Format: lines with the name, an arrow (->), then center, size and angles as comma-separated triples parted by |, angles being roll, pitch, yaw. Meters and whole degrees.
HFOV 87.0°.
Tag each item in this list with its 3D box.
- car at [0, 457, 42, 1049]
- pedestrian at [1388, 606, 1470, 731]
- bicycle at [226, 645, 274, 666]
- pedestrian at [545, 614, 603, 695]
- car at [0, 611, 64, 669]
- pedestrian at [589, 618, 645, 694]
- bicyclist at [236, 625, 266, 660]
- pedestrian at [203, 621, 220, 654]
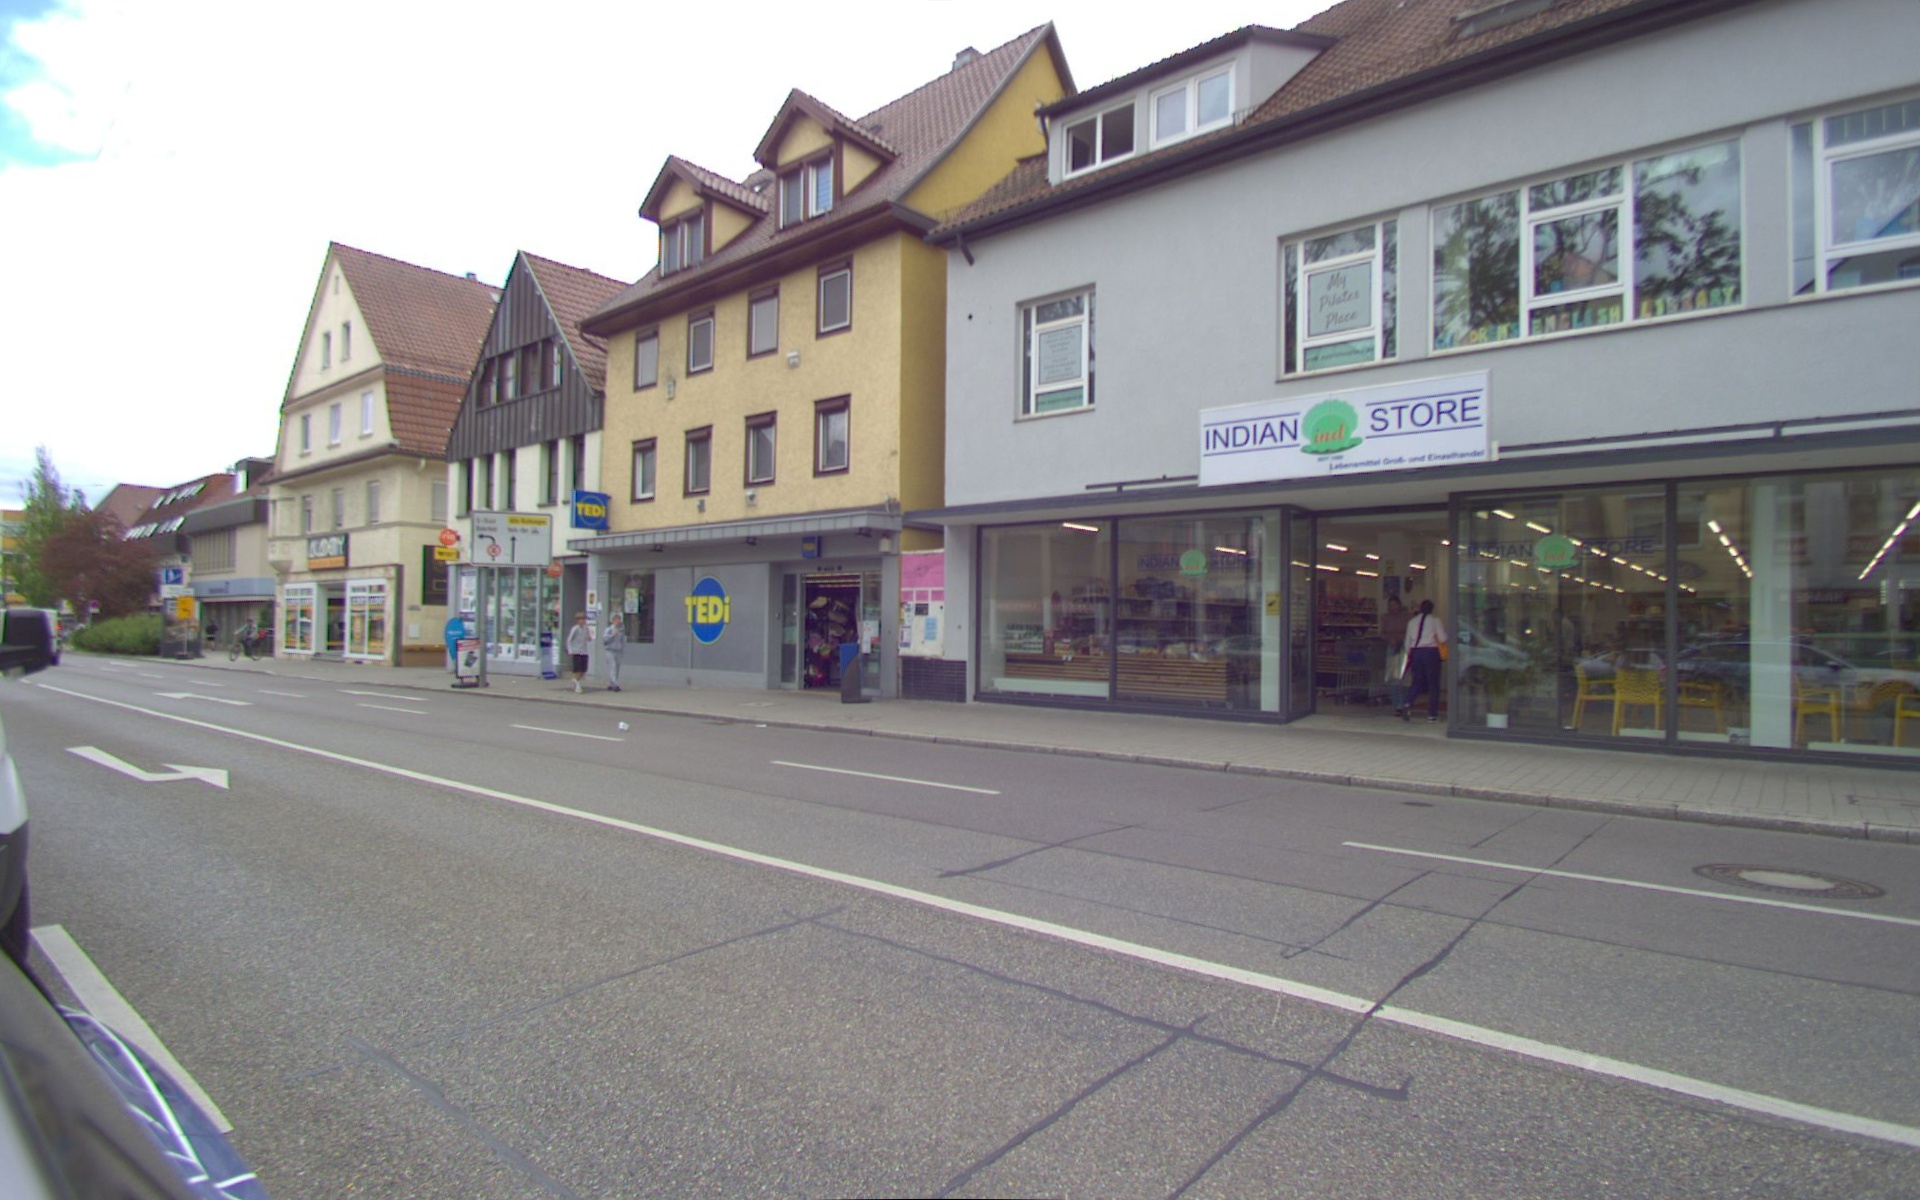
car -> -5.967, 0.579, 4.667 | 5.777, 1.994, 1.915 | -2, 0, 41
pedestrian -> 6.159, 0.881, 13.336 | 0.840, 1.592, 0.721 | -1, -2, 15
bicycle -> -29.059, 2.265, 41.453 | 0.761, 0.829, 2.245 | 0, -2, -11
pedestrian -> -8.147, 1.131, 21.348 | 0.920, 1.674, 0.801 | -2, -2, 42
car -> -33.517, 1.412, 35.988 | 4.523, 1.958, 1.885 | -2, -2, 41
pedestrian -> -7.387, 1.187, 21.787 | 0.920, 1.595, 0.801 | -2, -2, 42
bicyclist -> -29.056, 1.736, 41.479 | 0.761, 1.434, 0.754 | 0, -2, -11
pedestrian -> -43.567, 2.197, 58.893 | 0.678, 1.917, 0.665 | -2, -2, 41
